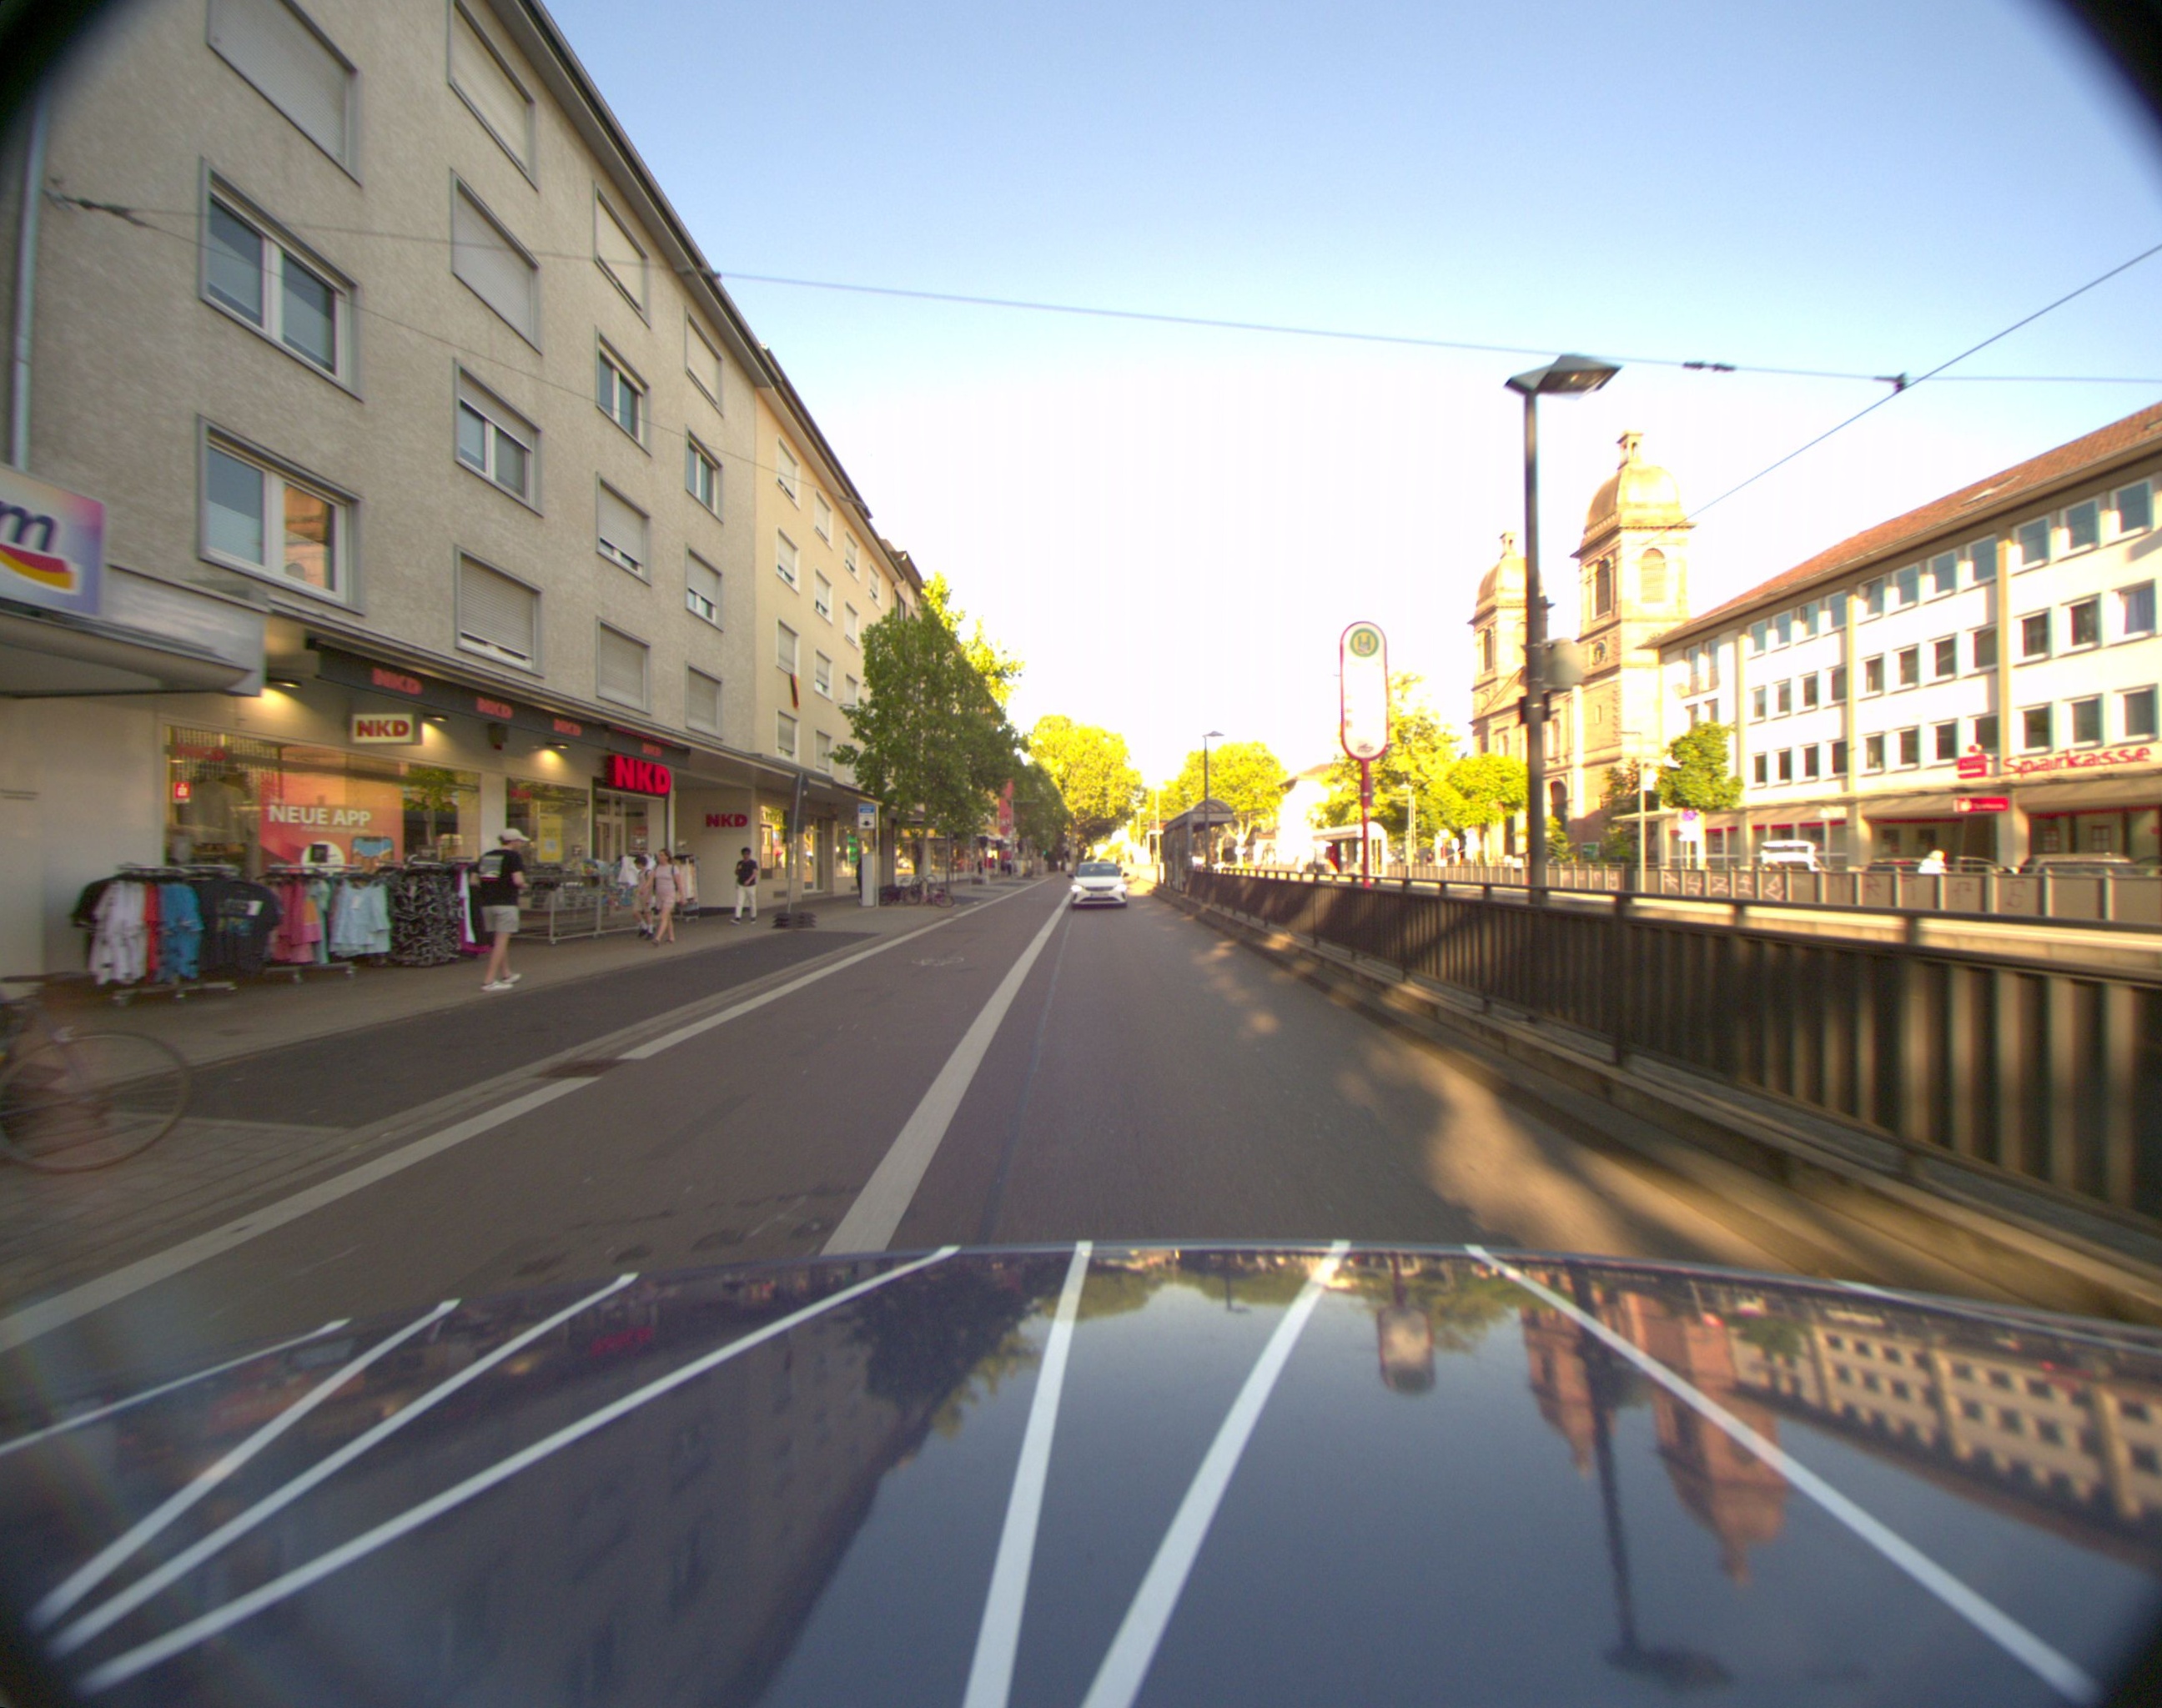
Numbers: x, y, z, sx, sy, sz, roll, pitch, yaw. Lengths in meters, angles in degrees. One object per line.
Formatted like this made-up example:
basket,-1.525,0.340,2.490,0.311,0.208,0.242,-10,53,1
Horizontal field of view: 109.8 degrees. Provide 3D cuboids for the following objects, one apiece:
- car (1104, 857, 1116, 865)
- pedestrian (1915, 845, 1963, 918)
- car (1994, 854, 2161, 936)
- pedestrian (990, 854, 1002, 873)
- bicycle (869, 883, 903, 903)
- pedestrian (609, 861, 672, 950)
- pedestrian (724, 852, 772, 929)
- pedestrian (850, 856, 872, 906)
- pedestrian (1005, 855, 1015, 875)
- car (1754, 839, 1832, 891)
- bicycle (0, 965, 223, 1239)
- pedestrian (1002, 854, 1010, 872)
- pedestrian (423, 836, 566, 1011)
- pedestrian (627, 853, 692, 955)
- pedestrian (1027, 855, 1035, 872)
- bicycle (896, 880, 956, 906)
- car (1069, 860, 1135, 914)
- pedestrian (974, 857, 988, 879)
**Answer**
car,5.270,1.243,139.508,1.719,1.390,3.998,-3,1,-4
pedestrian,21.541,0.679,19.089,0.726,1.777,0.766,-3,1,-42
car,22.947,0.867,17.663,4.007,1.521,1.865,-3,1,-45
pedestrian,-7.333,0.816,65.399,0.851,1.645,0.916,-2,1,0
bicycle,-6.174,1.225,24.017,0.840,0.569,1.757,0,0,-22
pedestrian,-7.665,0.870,13.242,0.542,1.493,0.896,1,0,1
pedestrian,-7.469,0.787,17.092,0.569,1.665,1.070,2,0,1
pedestrian,-7.133,0.866,24.665,0.490,1.558,0.648,2,1,2
pedestrian,-6.053,0.909,64.927,0.693,1.665,0.659,2,1,1
car,23.382,0.317,24.995,1.739,1.477,4.007,-2,1,43
bicycle,-5.371,1.115,3.451,1.796,1.118,0.662,4,1,-27
pedestrian,-7.079,0.814,71.752,0.634,1.645,0.651,-2,1,0
pedestrian,-6.437,0.724,8.388,0.775,1.789,0.931,3,0,2
pedestrian,-6.986,0.808,12.621,0.547,1.619,0.896,1,0,1
pedestrian,-4.880,0.915,73.918,0.634,1.645,0.651,-2,1,0
bicycle,-4.904,1.210,23.984,1.763,0.773,0.702,0,0,-22
car,0.632,0.955,23.503,1.826,1.433,3.828,-2,0,1
pedestrian,-7.543,1.044,57.511,0.851,1.645,0.916,-2,1,0
